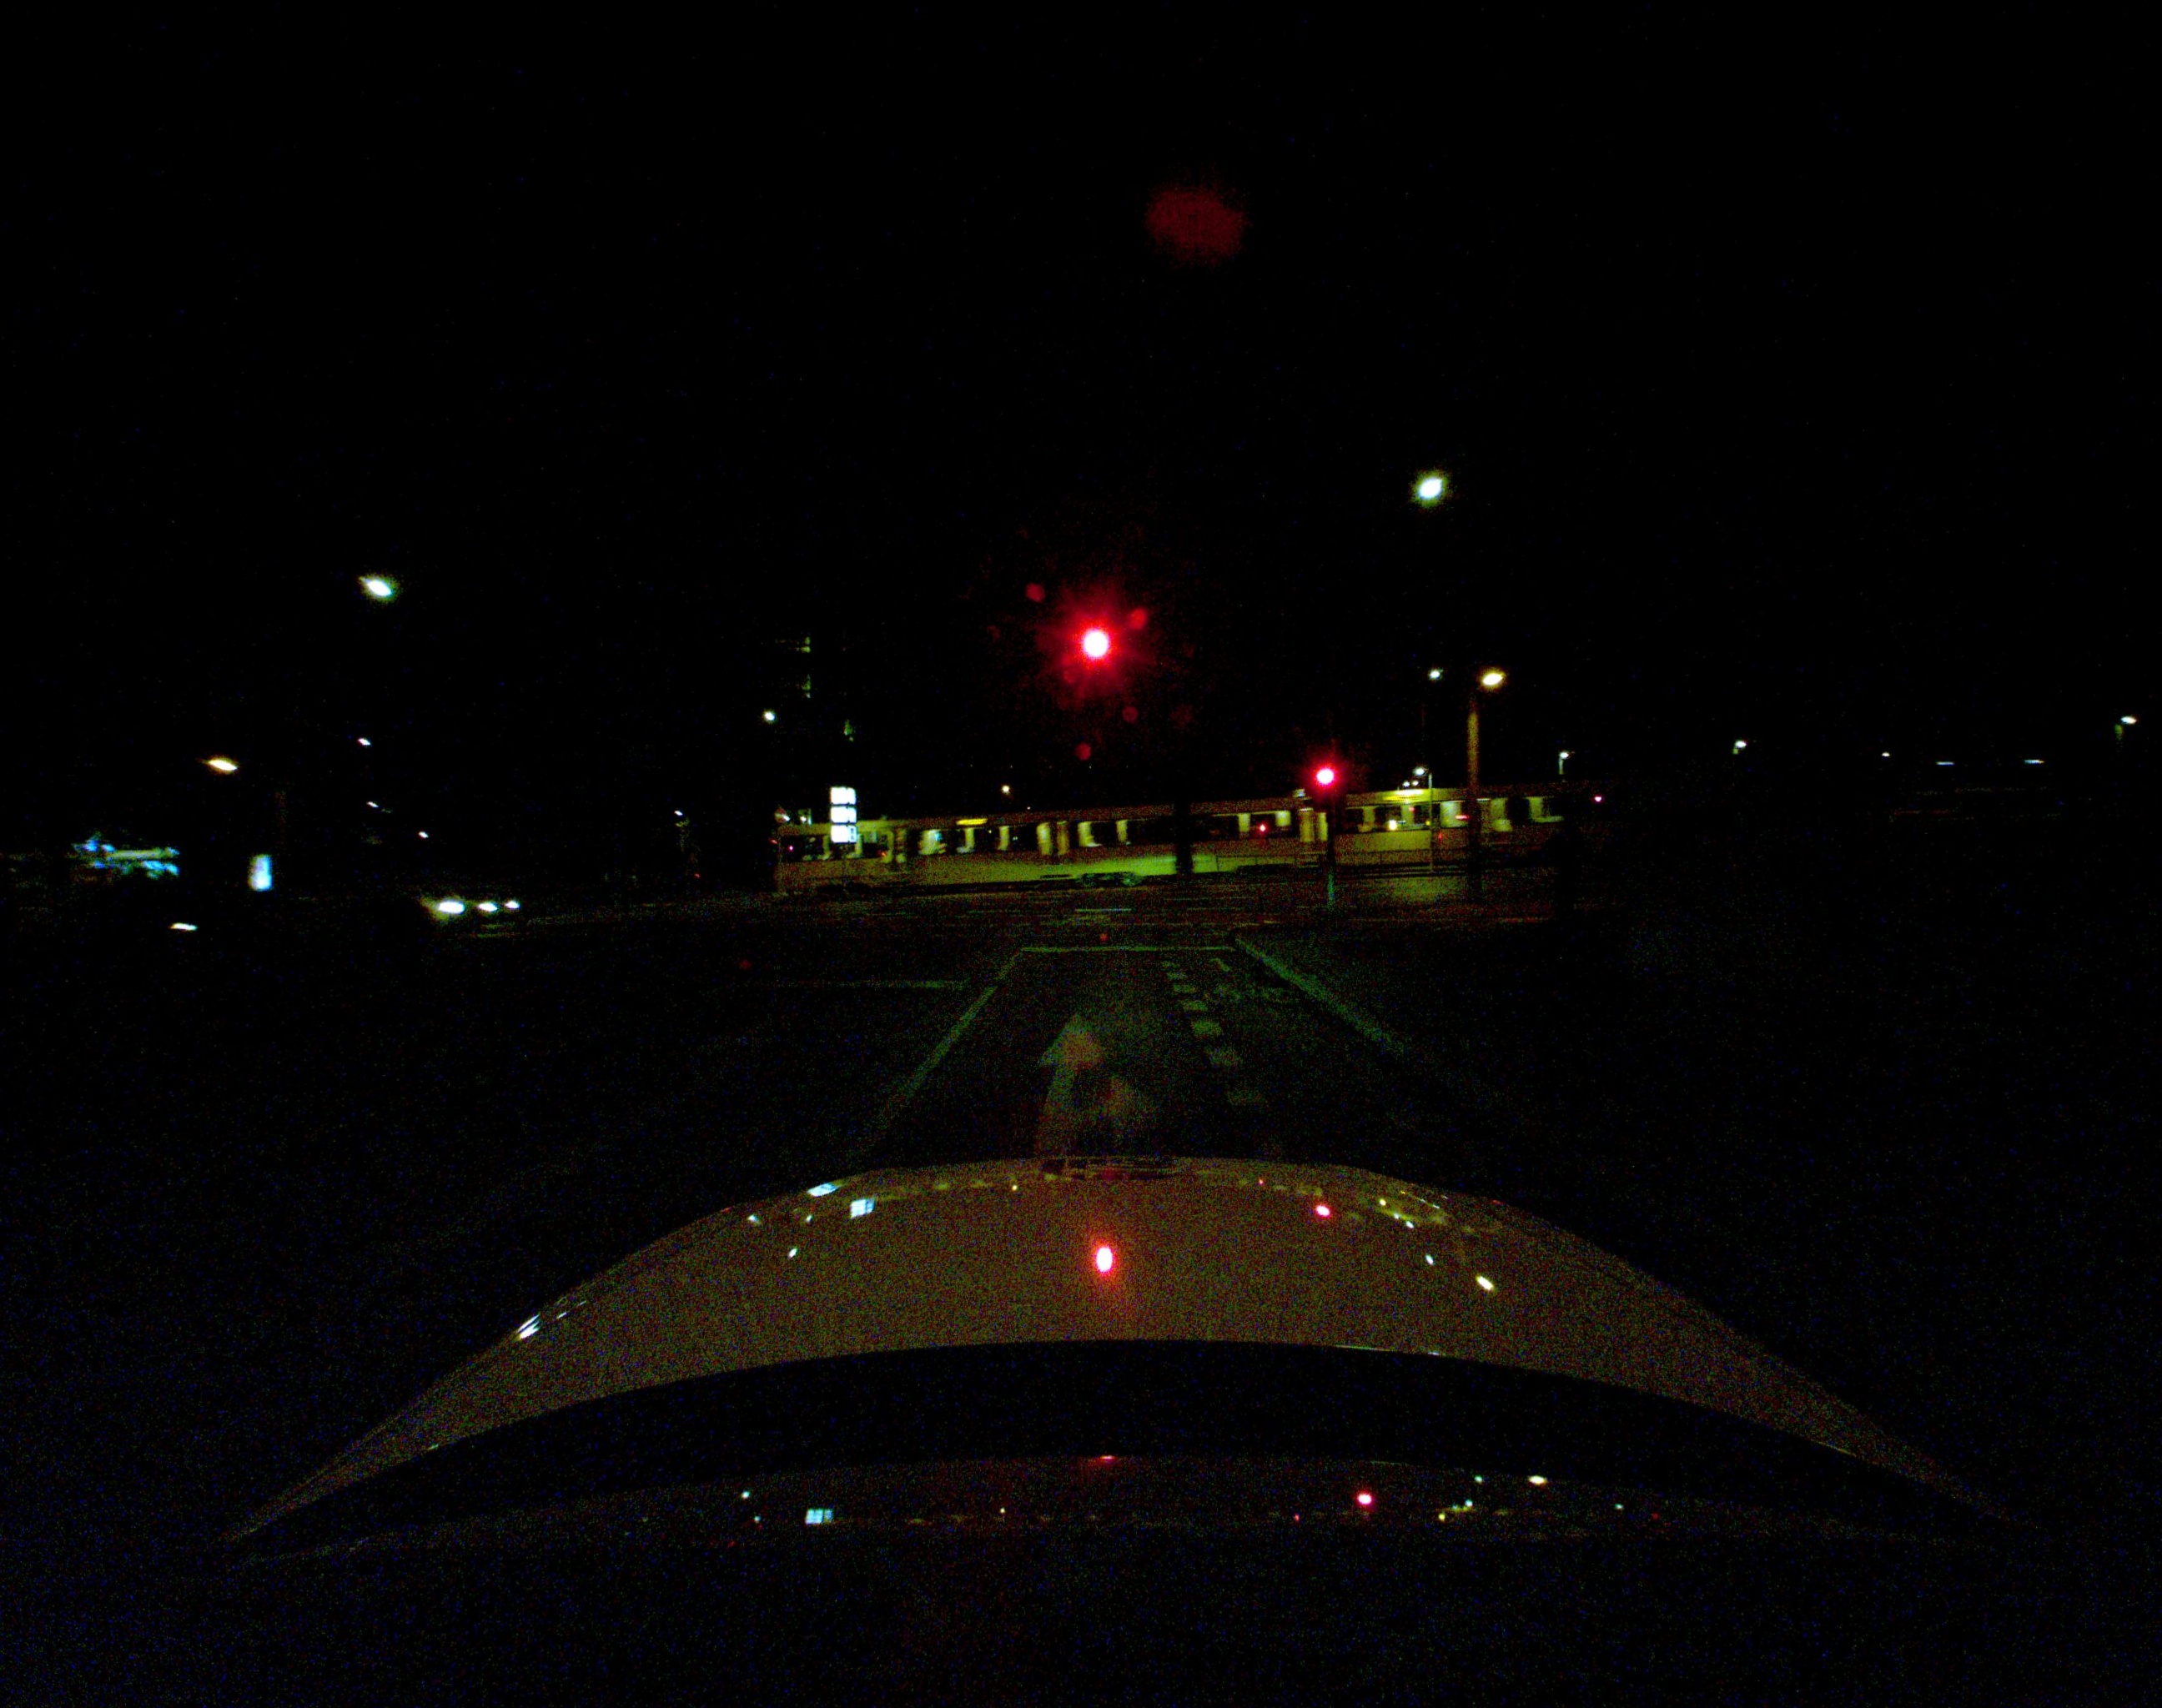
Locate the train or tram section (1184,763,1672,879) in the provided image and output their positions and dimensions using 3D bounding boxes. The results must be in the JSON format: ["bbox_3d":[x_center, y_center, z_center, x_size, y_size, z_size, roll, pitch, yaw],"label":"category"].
[{"bbox_3d":[14.118,-1.288,34.903,19.071,3.823,2.929,-3,0,7],"label":"train or tram section"}]

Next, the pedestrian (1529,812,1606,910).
[{"bbox_3d":[9.031,0.132,15.158,0.895,1.712,0.776,-4,-1,7],"label":"pedestrian"}]

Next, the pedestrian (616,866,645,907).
[{"bbox_3d":[-19.658,1.414,35.538,0.761,1.737,0.660,-3,0,2],"label":"pedestrian"}]

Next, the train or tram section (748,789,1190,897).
[{"bbox_3d":[-5.035,-0.417,37.157,19.688,3.861,2.946,-2,0,7],"label":"train or tram section"}]

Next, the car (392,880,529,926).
[{"bbox_3d":[-22.839,1.774,30.043,3.741,1.480,1.914,-2,-1,8],"label":"car"}]

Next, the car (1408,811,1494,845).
[{"bbox_3d":[21.140,-1.466,46.693,4.033,1.615,1.874,-4,0,10],"label":"car"}]
